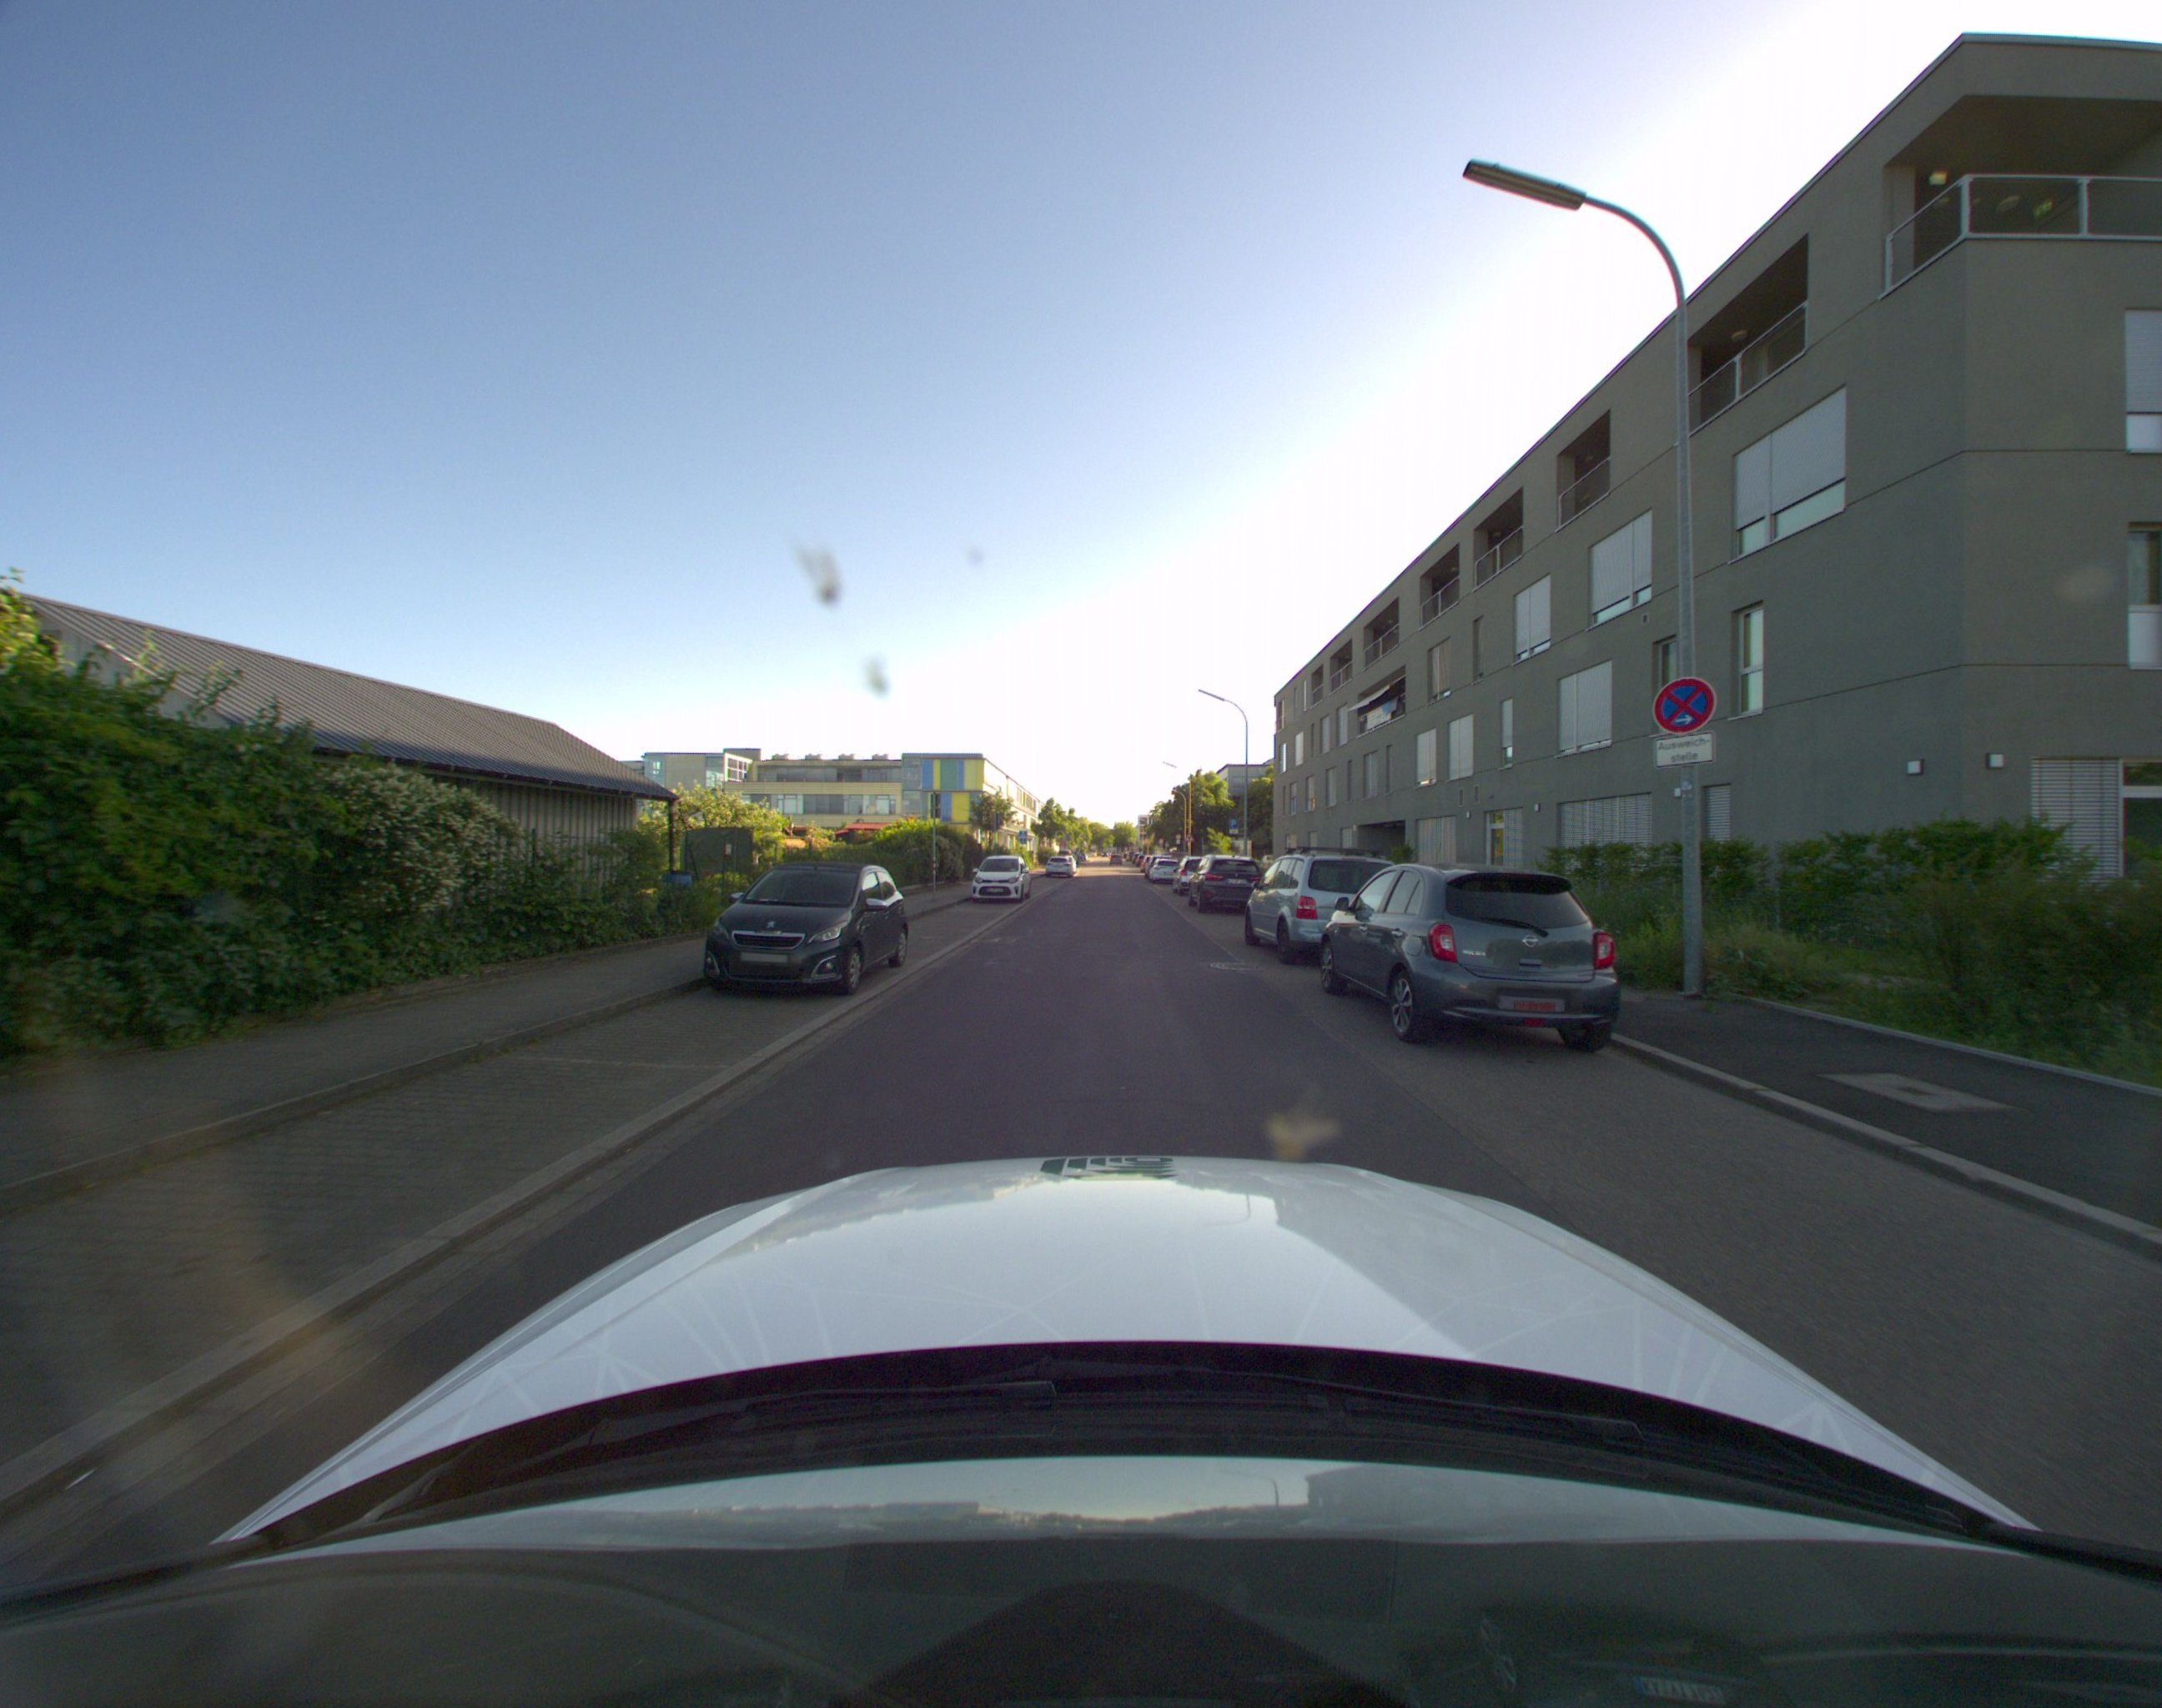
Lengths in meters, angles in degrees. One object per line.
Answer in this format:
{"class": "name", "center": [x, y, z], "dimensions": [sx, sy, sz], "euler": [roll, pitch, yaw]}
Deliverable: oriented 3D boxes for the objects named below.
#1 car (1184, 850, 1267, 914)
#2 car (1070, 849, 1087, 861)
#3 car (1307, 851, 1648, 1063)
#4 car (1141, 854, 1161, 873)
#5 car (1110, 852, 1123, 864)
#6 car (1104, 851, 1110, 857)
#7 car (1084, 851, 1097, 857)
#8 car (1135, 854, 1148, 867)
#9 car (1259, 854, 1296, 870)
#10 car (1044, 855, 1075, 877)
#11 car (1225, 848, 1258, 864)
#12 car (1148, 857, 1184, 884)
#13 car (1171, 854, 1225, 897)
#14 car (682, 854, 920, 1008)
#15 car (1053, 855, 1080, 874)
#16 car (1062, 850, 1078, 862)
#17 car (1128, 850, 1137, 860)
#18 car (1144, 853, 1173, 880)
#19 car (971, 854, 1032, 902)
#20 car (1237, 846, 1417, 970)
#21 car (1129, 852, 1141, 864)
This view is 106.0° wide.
{"class": "car", "center": [4.064, 0.748, 23.519], "dimensions": [1.735, 1.625, 4.180], "euler": [2, 0, 2]}
{"class": "car", "center": [-0.319, 0.133, 115.847], "dimensions": [1.845, 1.563, 4.142], "euler": [2, 0, 7]}
{"class": "car", "center": [3.537, 0.781, 8.116], "dimensions": [1.616, 1.526, 3.904], "euler": [3, 0, 3]}
{"class": "car", "center": [5.951, 0.784, 69.680], "dimensions": [1.440, 1.549, 3.615], "euler": [2, 0, 1]}
{"class": "car", "center": [4.796, 0.521, 110.473], "dimensions": [1.683, 1.549, 3.615], "euler": [2, 0, 1]}
{"class": "car", "center": [7.406, -0.064, 233.224], "dimensions": [1.658, 1.549, 3.903], "euler": [2, 0, 1]}
{"class": "car", "center": [2.689, 0.008, 231.150], "dimensions": [3.594, 1.549, 1.448], "euler": [2, 0, -4]}
{"class": "car", "center": [7.602, 0.840, 102.064], "dimensions": [1.440, 1.549, 3.615], "euler": [2, 0, 1]}
{"class": "car", "center": [18.703, 0.756, 77.537], "dimensions": [3.201, 1.460, 1.452], "euler": [2, 0, 4]}
{"class": "car", "center": [-1.483, 0.792, 56.542], "dimensions": [1.847, 1.428, 4.136], "euler": [2, 0, 2]}
{"class": "car", "center": [16.957, 0.219, 85.979], "dimensions": [3.201, 1.549, 1.452], "euler": [2, 0, 4]}
{"class": "car", "center": [4.890, 0.928, 47.362], "dimensions": [1.735, 1.428, 4.136], "euler": [2, 0, 2]}
{"class": "car", "center": [4.612, 0.803, 32.507], "dimensions": [1.651, 1.551, 3.852], "euler": [2, 0, 2]}
{"class": "car", "center": [-3.229, 0.794, 10.150], "dimensions": [1.554, 1.495, 3.572], "euler": [3, 0, 2]}
{"class": "car", "center": [-1.134, 0.796, 64.537], "dimensions": [1.847, 1.428, 4.136], "euler": [2, 0, 2]}
{"class": "car", "center": [-1.379, 0.276, 107.509], "dimensions": [1.847, 1.563, 4.136], "euler": [2, 0, 2]}
{"class": "car", "center": [9.018, 0.163, 143.477], "dimensions": [1.440, 1.549, 3.615], "euler": [2, 0, 1]}
{"class": "car", "center": [5.053, 0.794, 53.465], "dimensions": [1.626, 1.630, 3.615], "euler": [2, 0, 1]}
{"class": "car", "center": [-2.585, 0.761, 27.192], "dimensions": [1.554, 1.495, 3.760], "euler": [0, 0, 2]}
{"class": "car", "center": [3.751, 0.739, 13.187], "dimensions": [1.670, 1.608, 4.180], "euler": [3, 0, 1]}
{"class": "car", "center": [7.837, 0.560, 118.076], "dimensions": [1.440, 1.549, 3.615], "euler": [2, 0, 1]}
